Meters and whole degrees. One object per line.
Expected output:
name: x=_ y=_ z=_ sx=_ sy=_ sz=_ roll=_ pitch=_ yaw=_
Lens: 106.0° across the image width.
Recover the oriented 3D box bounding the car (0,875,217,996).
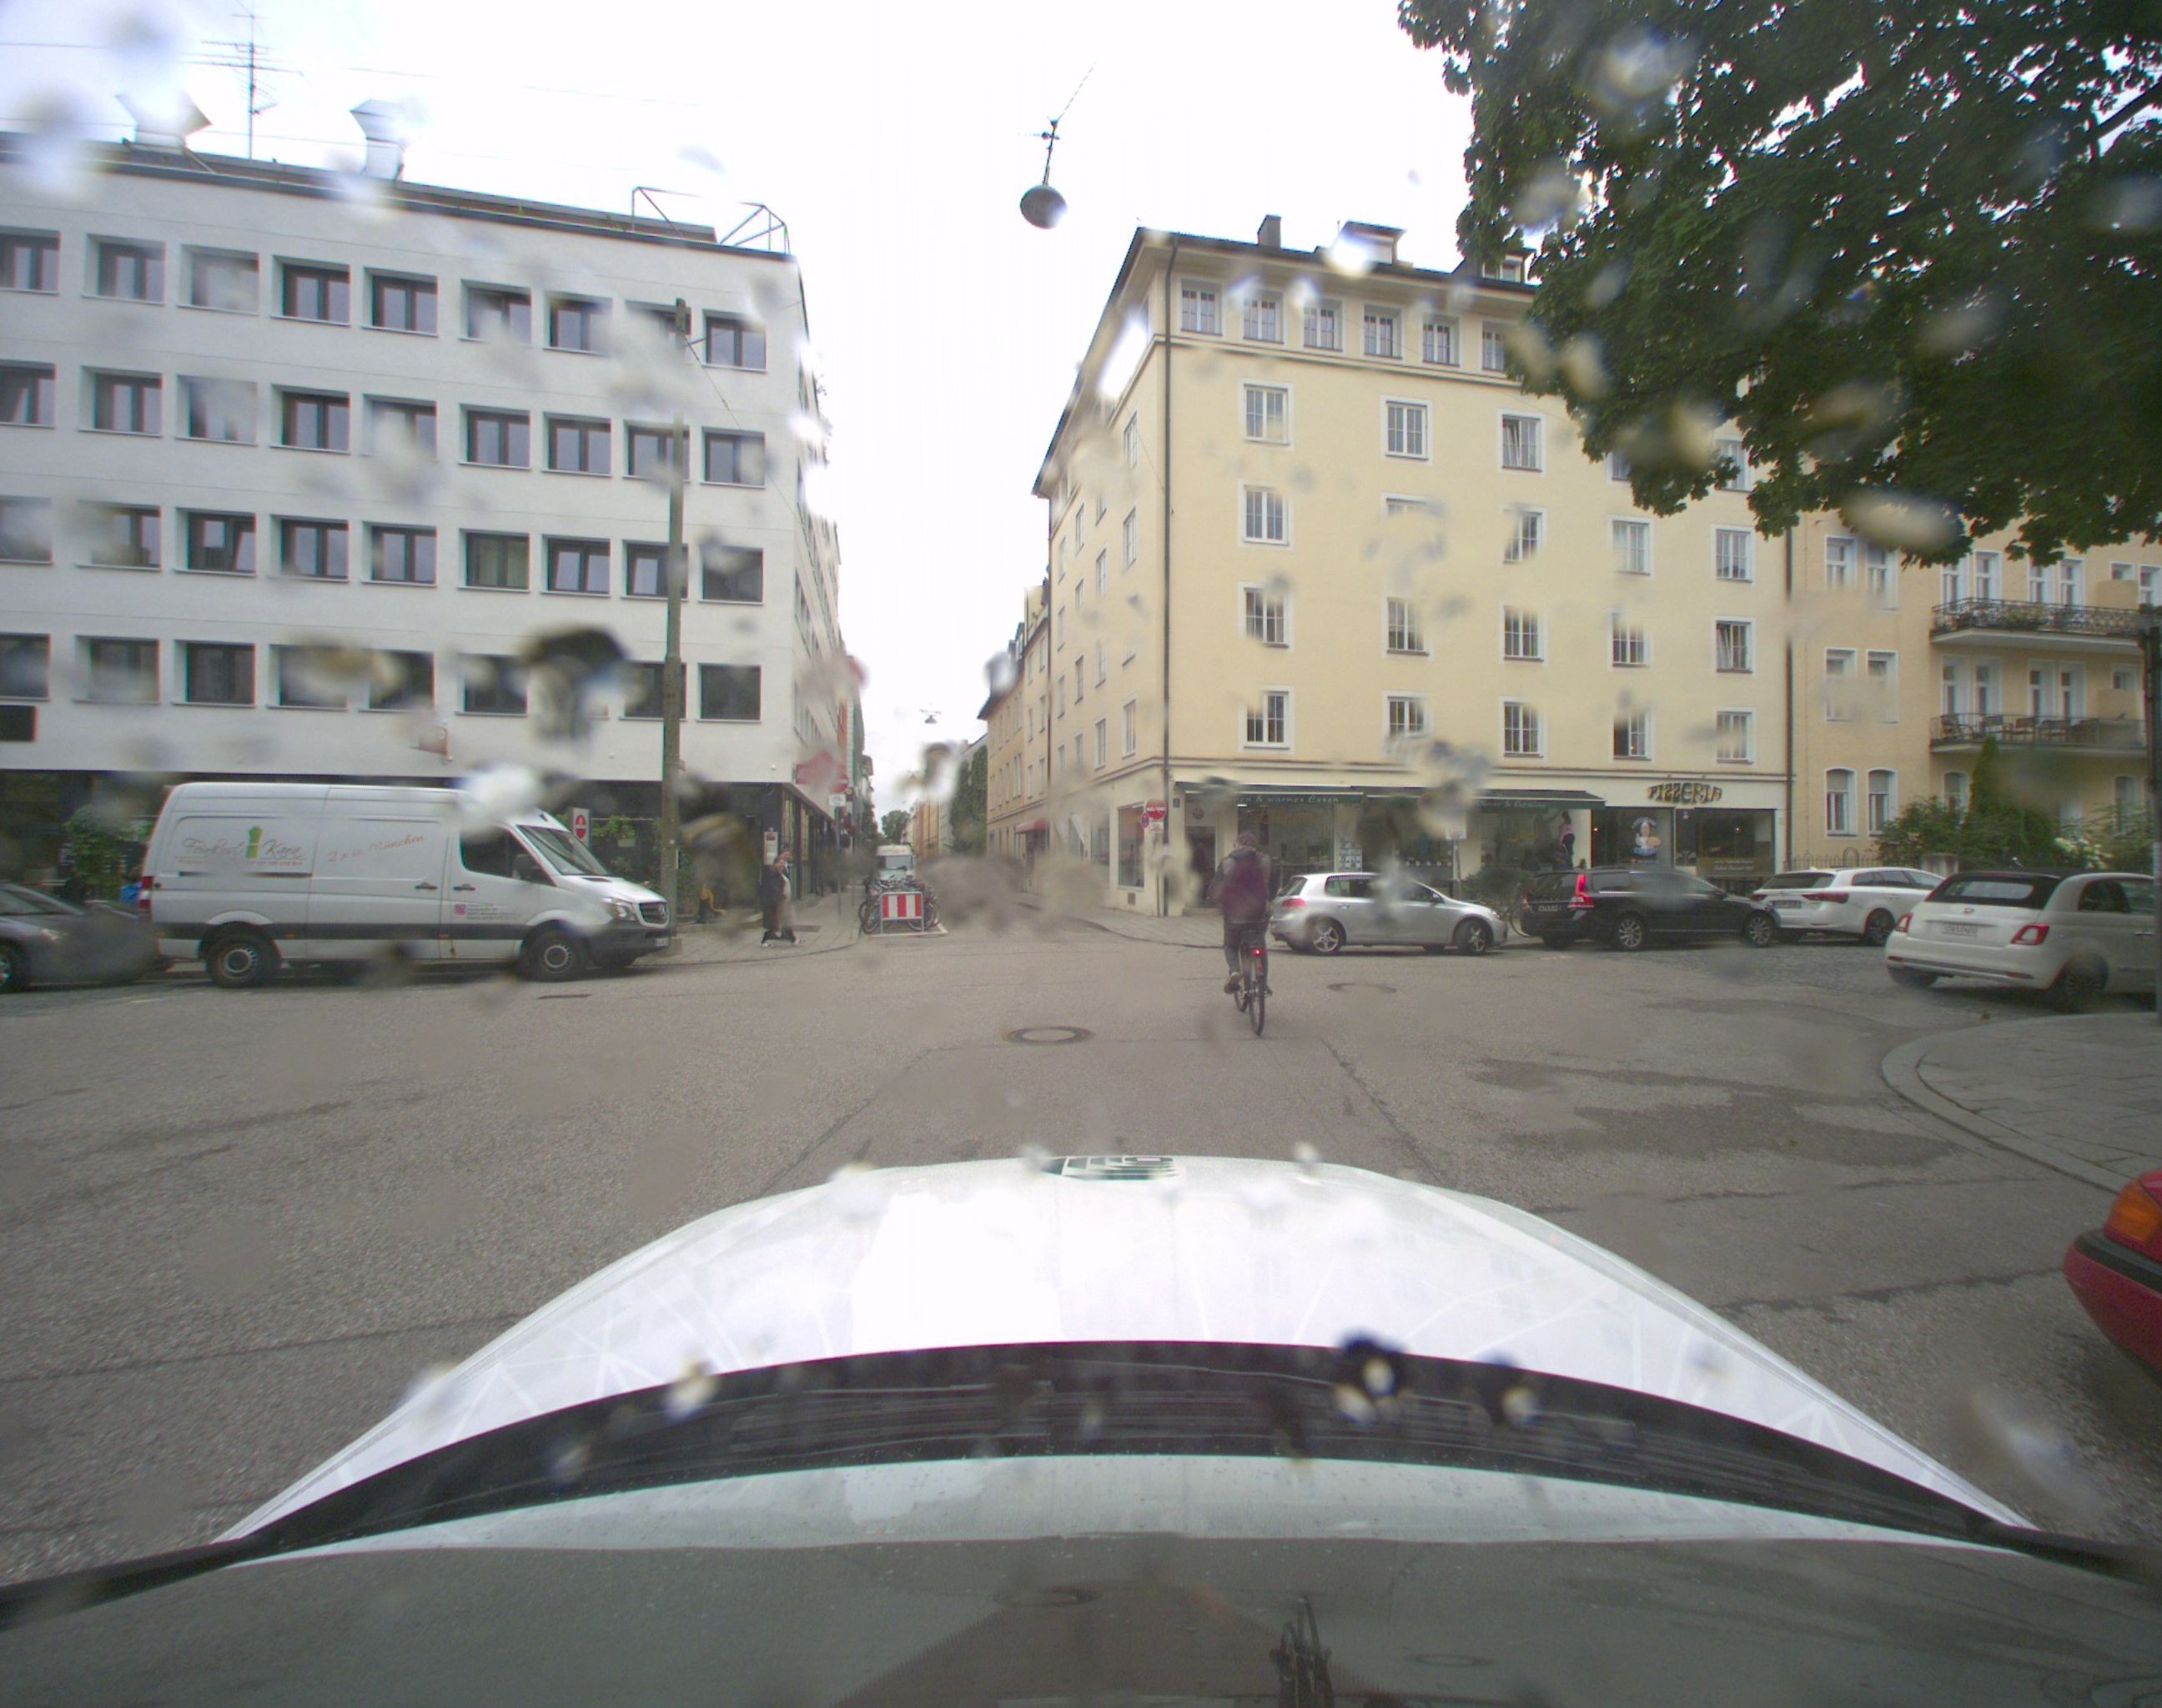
car: x=-14.219 y=1.023 z=10.348 sx=4.057 sy=1.429 sz=1.791 roll=0 pitch=-3 yaw=-13

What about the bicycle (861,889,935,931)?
bicycle: x=-4.470 y=1.355 z=19.911 sx=1.740 sy=0.968 sz=0.540 roll=0 pitch=-1 yaw=-17

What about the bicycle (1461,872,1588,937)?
bicycle: x=9.208 y=1.033 z=16.948 sx=2.082 sy=1.253 sz=1.103 roll=1 pitch=0 yaw=-10

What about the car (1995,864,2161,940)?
car: x=21.666 y=0.982 z=16.878 sx=3.989 sy=1.449 sz=1.804 roll=0 pitch=-4 yaw=-11

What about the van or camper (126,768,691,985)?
van or camper: x=-8.952 y=0.284 z=11.467 sx=5.904 sy=2.677 sz=1.867 roll=0 pitch=-2 yaw=-10

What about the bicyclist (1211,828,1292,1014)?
bicyclist: x=1.540 y=0.581 z=7.458 sx=0.603 sy=1.606 sz=0.758 roll=0 pitch=0 yaw=3

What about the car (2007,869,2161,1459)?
car: x=3.506 y=0.764 z=0.244 sx=1.664 sy=1.435 sz=4.211 roll=1 pitch=0 yaw=-1

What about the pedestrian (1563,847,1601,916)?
pedestrian: x=12.617 y=0.675 z=20.527 sx=0.602 sy=1.702 sz=0.542 roll=0 pitch=1 yaw=-9

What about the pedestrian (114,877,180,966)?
pedestrian: x=-16.058 y=1.139 z=14.005 sx=0.644 sy=1.481 sz=0.595 roll=-1 pitch=-3 yaw=33

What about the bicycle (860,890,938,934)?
bicycle: x=-4.303 y=1.354 z=19.246 sx=1.758 sy=0.968 sz=0.591 roll=0 pitch=-1 yaw=-17

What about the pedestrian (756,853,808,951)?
pedestrian: x=-5.596 y=0.879 z=15.219 sx=0.794 sy=1.746 sz=0.765 roll=2 pitch=1 yaw=-26

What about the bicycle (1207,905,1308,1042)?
bicycle: x=1.541 y=1.013 z=7.334 sx=0.636 sy=1.004 sz=1.575 roll=0 pitch=0 yaw=3

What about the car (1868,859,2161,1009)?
car: x=11.371 y=0.827 z=9.398 sx=3.319 sy=1.487 sz=1.623 roll=0 pitch=1 yaw=-9

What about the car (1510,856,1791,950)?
car: x=10.565 y=0.886 z=15.231 sx=4.337 sy=1.592 sz=1.813 roll=0 pitch=-2 yaw=-11

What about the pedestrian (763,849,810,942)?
pedestrian: x=-5.855 y=0.812 z=16.184 sx=0.781 sy=1.783 sz=0.614 roll=2 pitch=1 yaw=-26

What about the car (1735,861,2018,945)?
car: x=15.520 y=0.943 z=15.969 sx=4.337 sy=1.503 sz=1.813 roll=0 pitch=-3 yaw=-11

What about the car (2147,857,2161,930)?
car: x=26.385 y=0.847 z=17.972 sx=3.986 sy=1.638 sz=1.747 roll=0 pitch=-3 yaw=-9

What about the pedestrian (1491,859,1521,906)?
pedestrian: x=12.191 y=0.807 z=23.355 sx=0.515 sy=1.297 sz=0.577 roll=0 pitch=-1 yaw=-32

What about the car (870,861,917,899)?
car: x=-8.019 y=1.072 z=34.930 sx=1.834 sy=1.535 sz=3.983 roll=0 pitch=0 yaw=-12

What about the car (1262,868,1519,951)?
car: x=5.468 y=1.007 z=14.793 sx=3.973 sy=1.416 sz=1.820 roll=0 pitch=-4 yaw=0

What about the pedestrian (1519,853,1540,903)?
pedestrian: x=13.082 y=0.696 z=23.747 sx=0.507 sy=1.433 sz=0.586 roll=-1 pitch=-1 yaw=31

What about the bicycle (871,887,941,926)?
bicycle: x=-4.562 y=1.354 z=21.232 sx=1.740 sy=0.968 sz=0.540 roll=0 pitch=-1 yaw=-17

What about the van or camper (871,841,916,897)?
van or camper: x=-8.982 y=0.702 z=39.308 sx=1.994 sy=2.540 sz=4.741 roll=0 pitch=-1 yaw=-11

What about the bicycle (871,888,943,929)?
bicycle: x=-4.404 y=1.357 z=20.627 sx=1.740 sy=0.968 sz=0.540 roll=0 pitch=-1 yaw=-17

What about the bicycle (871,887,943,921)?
bicycle: x=-4.821 y=1.363 z=22.541 sx=1.915 sy=0.863 sz=0.615 roll=0 pitch=-1 yaw=-17

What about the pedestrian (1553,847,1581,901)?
pedestrian: x=13.986 y=0.574 z=23.452 sx=0.435 sy=1.551 sz=0.530 roll=0 pitch=-1 yaw=-28

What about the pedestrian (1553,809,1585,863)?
pedestrian: x=14.434 y=-0.517 z=24.107 sx=0.552 sy=1.575 sz=0.576 roll=2 pitch=-1 yaw=-11

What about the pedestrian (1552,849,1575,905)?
pedestrian: x=13.586 y=0.628 z=22.934 sx=0.550 sy=1.537 sz=0.437 roll=1 pitch=1 yaw=32

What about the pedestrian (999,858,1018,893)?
pedestrian: x=-3.763 y=1.090 z=42.299 sx=0.878 sy=1.778 sz=0.770 roll=0 pitch=-1 yaw=-12
